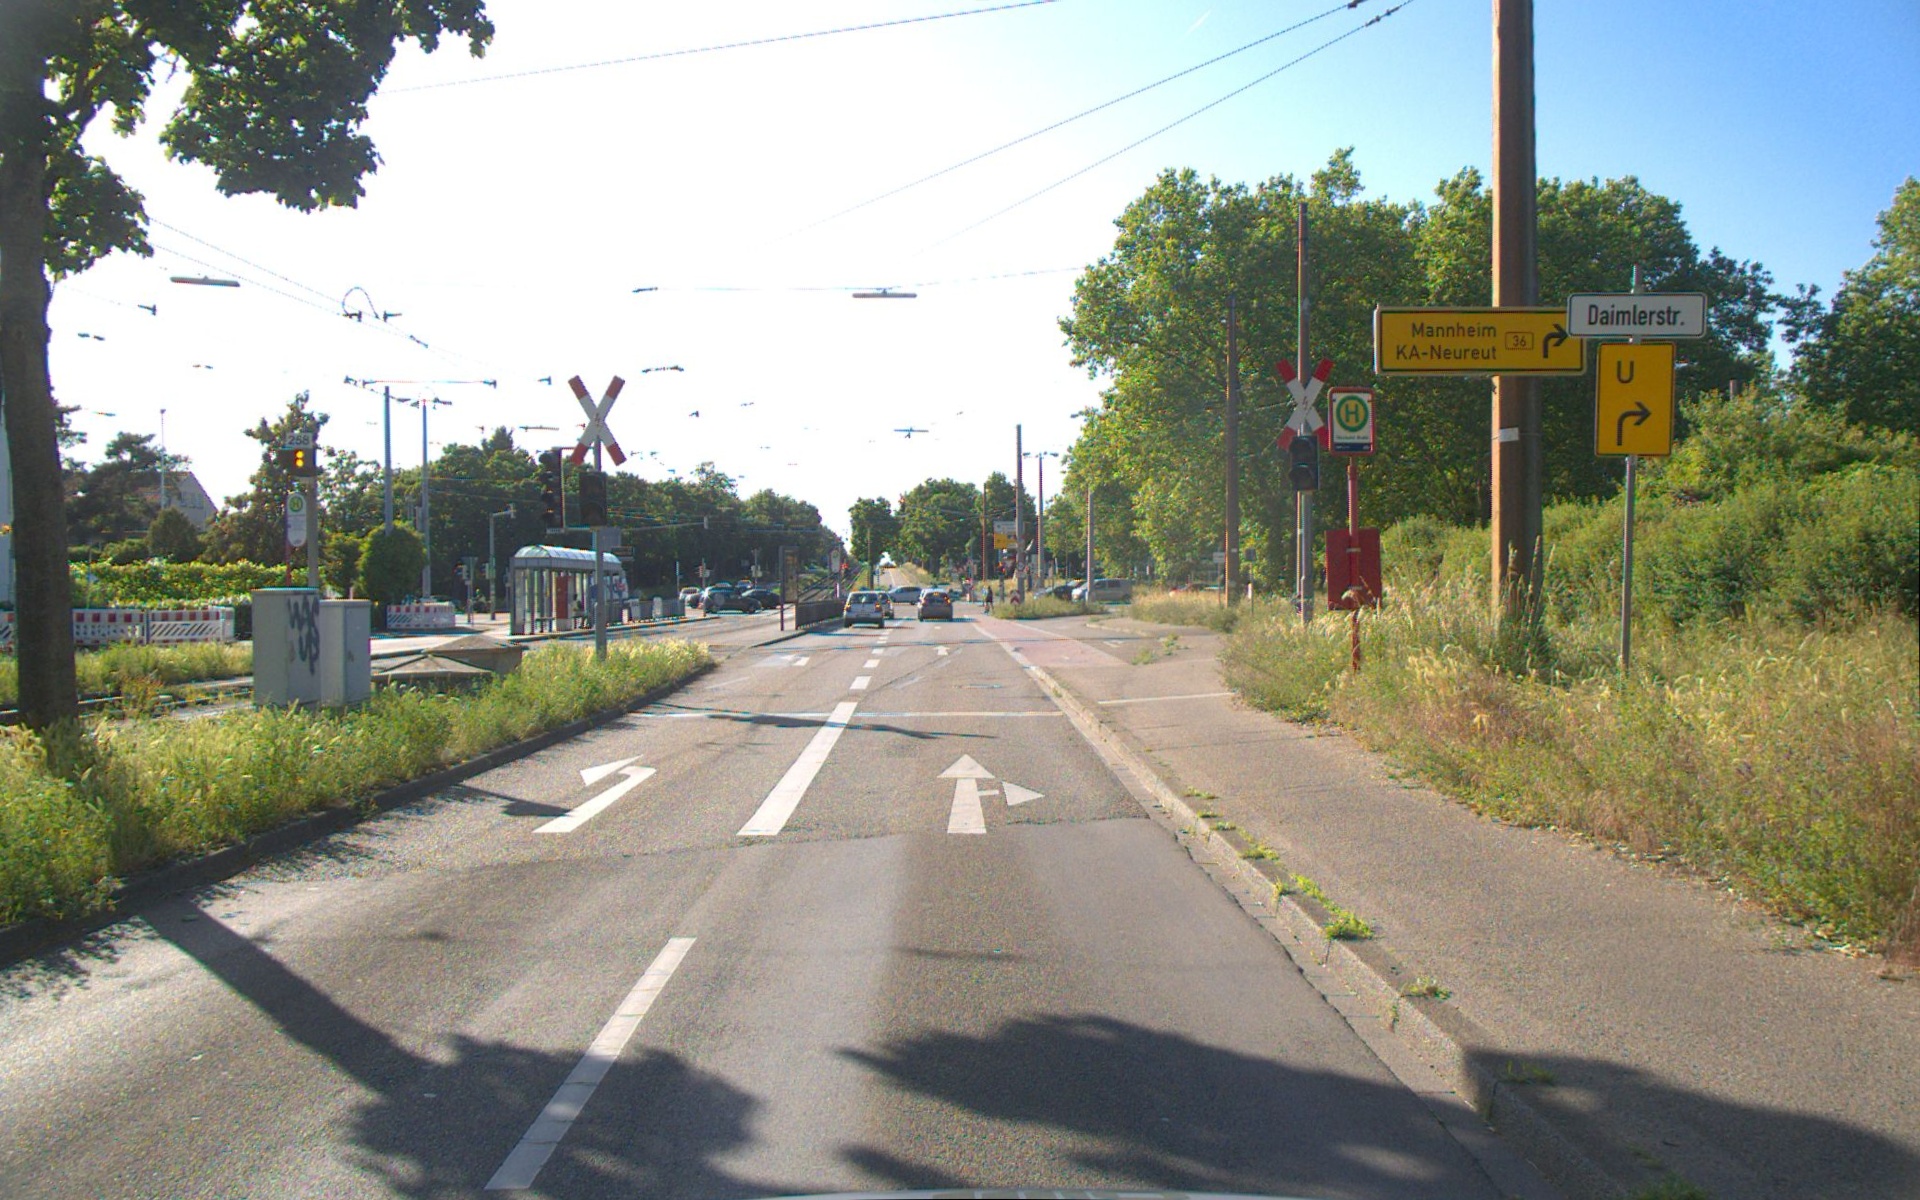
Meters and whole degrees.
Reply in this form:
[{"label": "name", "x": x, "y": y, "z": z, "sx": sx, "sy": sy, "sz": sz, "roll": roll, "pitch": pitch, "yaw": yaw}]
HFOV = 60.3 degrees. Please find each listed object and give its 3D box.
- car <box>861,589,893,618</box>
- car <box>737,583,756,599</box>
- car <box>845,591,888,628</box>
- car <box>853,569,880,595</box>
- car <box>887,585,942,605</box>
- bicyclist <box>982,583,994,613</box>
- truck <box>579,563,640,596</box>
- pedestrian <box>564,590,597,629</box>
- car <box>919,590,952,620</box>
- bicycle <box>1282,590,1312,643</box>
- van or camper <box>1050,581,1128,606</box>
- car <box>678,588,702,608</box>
[{"label": "car", "x": -4.444, "y": 0.192, "z": 88.838, "sx": 1.586, "sy": 1.482, "sz": 4.084, "roll": 0, "pitch": 0, "yaw": -1}, {"label": "car", "x": -23.495, "y": -0.988, "z": 182.109, "sx": 1.956, "sy": 1.632, "sz": 4.747, "roll": 0, "pitch": 1, "yaw": -8}, {"label": "car", "x": -3.805, "y": 0.369, "z": 67.486, "sx": 1.586, "sy": 1.442, "sz": 3.350, "roll": -1, "pitch": 0, "yaw": -1}, {"label": "car", "x": -7.577, "y": -1.428, "z": 133.868, "sx": 1.953, "sy": 2.049, "sz": 4.491, "roll": 1, "pitch": 0, "yaw": -1}, {"label": "car", "x": -3.524, "y": -0.380, "z": 129.083, "sx": 3.932, "sy": 1.499, "sz": 1.740, "roll": 1, "pitch": 0, "yaw": -23}, {"label": "bicyclist", "x": 1.621, "y": -0.104, "z": 97.396, "sx": 0.652, "sy": 1.746, "sz": 0.948, "roll": 1, "pitch": 0, "yaw": -1}, {"label": "truck", "x": -28.661, "y": -1.700, "z": 135.544, "sx": 1.951, "sy": 2.610, "sz": 6.828, "roll": -1, "pitch": 0, "yaw": 15}, {"label": "pedestrian", "x": -14.795, "y": 0.372, "z": 64.463, "sx": 1.039, "sy": 1.478, "sz": 1.007, "roll": -1, "pitch": 0, "yaw": -2}, {"label": "car", "x": -1.260, "y": 0.220, "z": 83.474, "sx": 1.634, "sy": 1.487, "sz": 3.585, "roll": 0, "pitch": 0, "yaw": -1}, {"label": "bicycle", "x": 7.621, "y": 0.354, "z": 37.378, "sx": 0.357, "sy": 1.155, "sz": 2.096, "roll": -1, "pitch": 0, "yaw": 20}, {"label": "van or camper", "x": 10.009, "y": -0.512, "z": 128.343, "sx": 5.850, "sy": 1.860, "sz": 1.998, "roll": 0, "pitch": 0, "yaw": -4}, {"label": "car", "x": -22.212, "y": -0.197, "z": 136.103, "sx": 1.797, "sy": 1.575, "sz": 3.994, "roll": -1, "pitch": 0, "yaw": -7}]
